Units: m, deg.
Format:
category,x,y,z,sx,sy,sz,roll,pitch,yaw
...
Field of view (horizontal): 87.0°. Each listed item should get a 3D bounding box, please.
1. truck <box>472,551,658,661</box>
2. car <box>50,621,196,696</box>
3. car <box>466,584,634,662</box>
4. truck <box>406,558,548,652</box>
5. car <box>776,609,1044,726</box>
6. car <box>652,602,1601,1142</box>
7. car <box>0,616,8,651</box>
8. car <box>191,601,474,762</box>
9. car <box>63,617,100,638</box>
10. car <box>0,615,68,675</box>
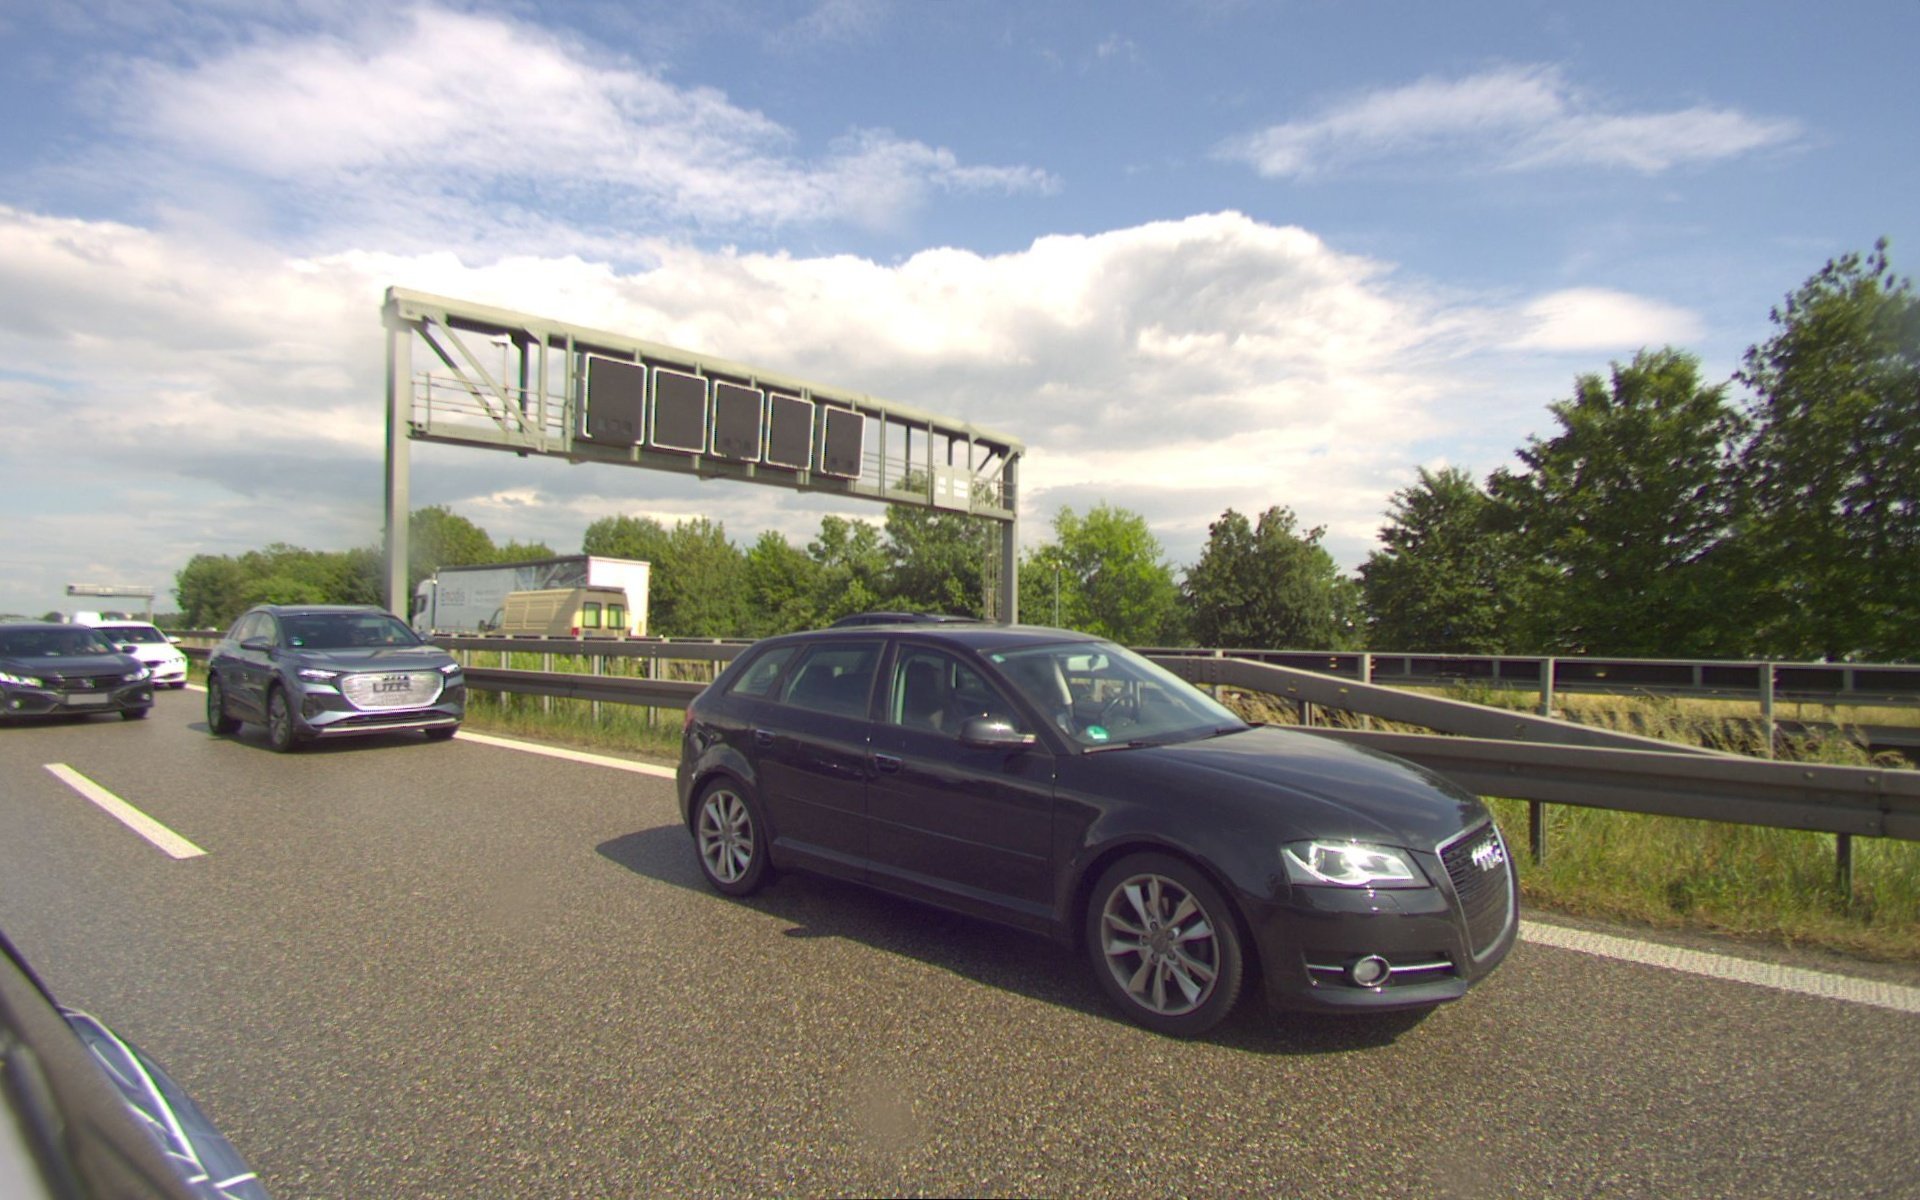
category,x,y,z,sx,sy,sz,roll,pitch,yaw
truck,-15.775,0.227,39.976,9.418,3.882,2.819,0,0,41
car,-17.705,1.159,21.347,3.998,1.389,1.748,0,-1,41
car,-13.065,0.735,31.953,6.976,2.225,1.973,-2,-1,41
truck,-21.643,0.230,45.116,7.874,3.850,2.832,0,0,41
car,-0.867,0.963,16.024,3.998,1.597,1.973,-1,-1,41
car,0.433,0.755,4.772,4.138,1.436,1.747,-1,0,42
car,-43.846,1.508,44.875,3.998,1.490,1.973,0,1,41
car,-7.718,0.853,12.284,4.228,1.618,1.850,-1,-1,42
car,-85.861,2.670,98.878,5.555,2.029,1.973,-1,-2,41
car,-30.325,1.395,32.537,3.998,1.762,1.973,0,1,41
